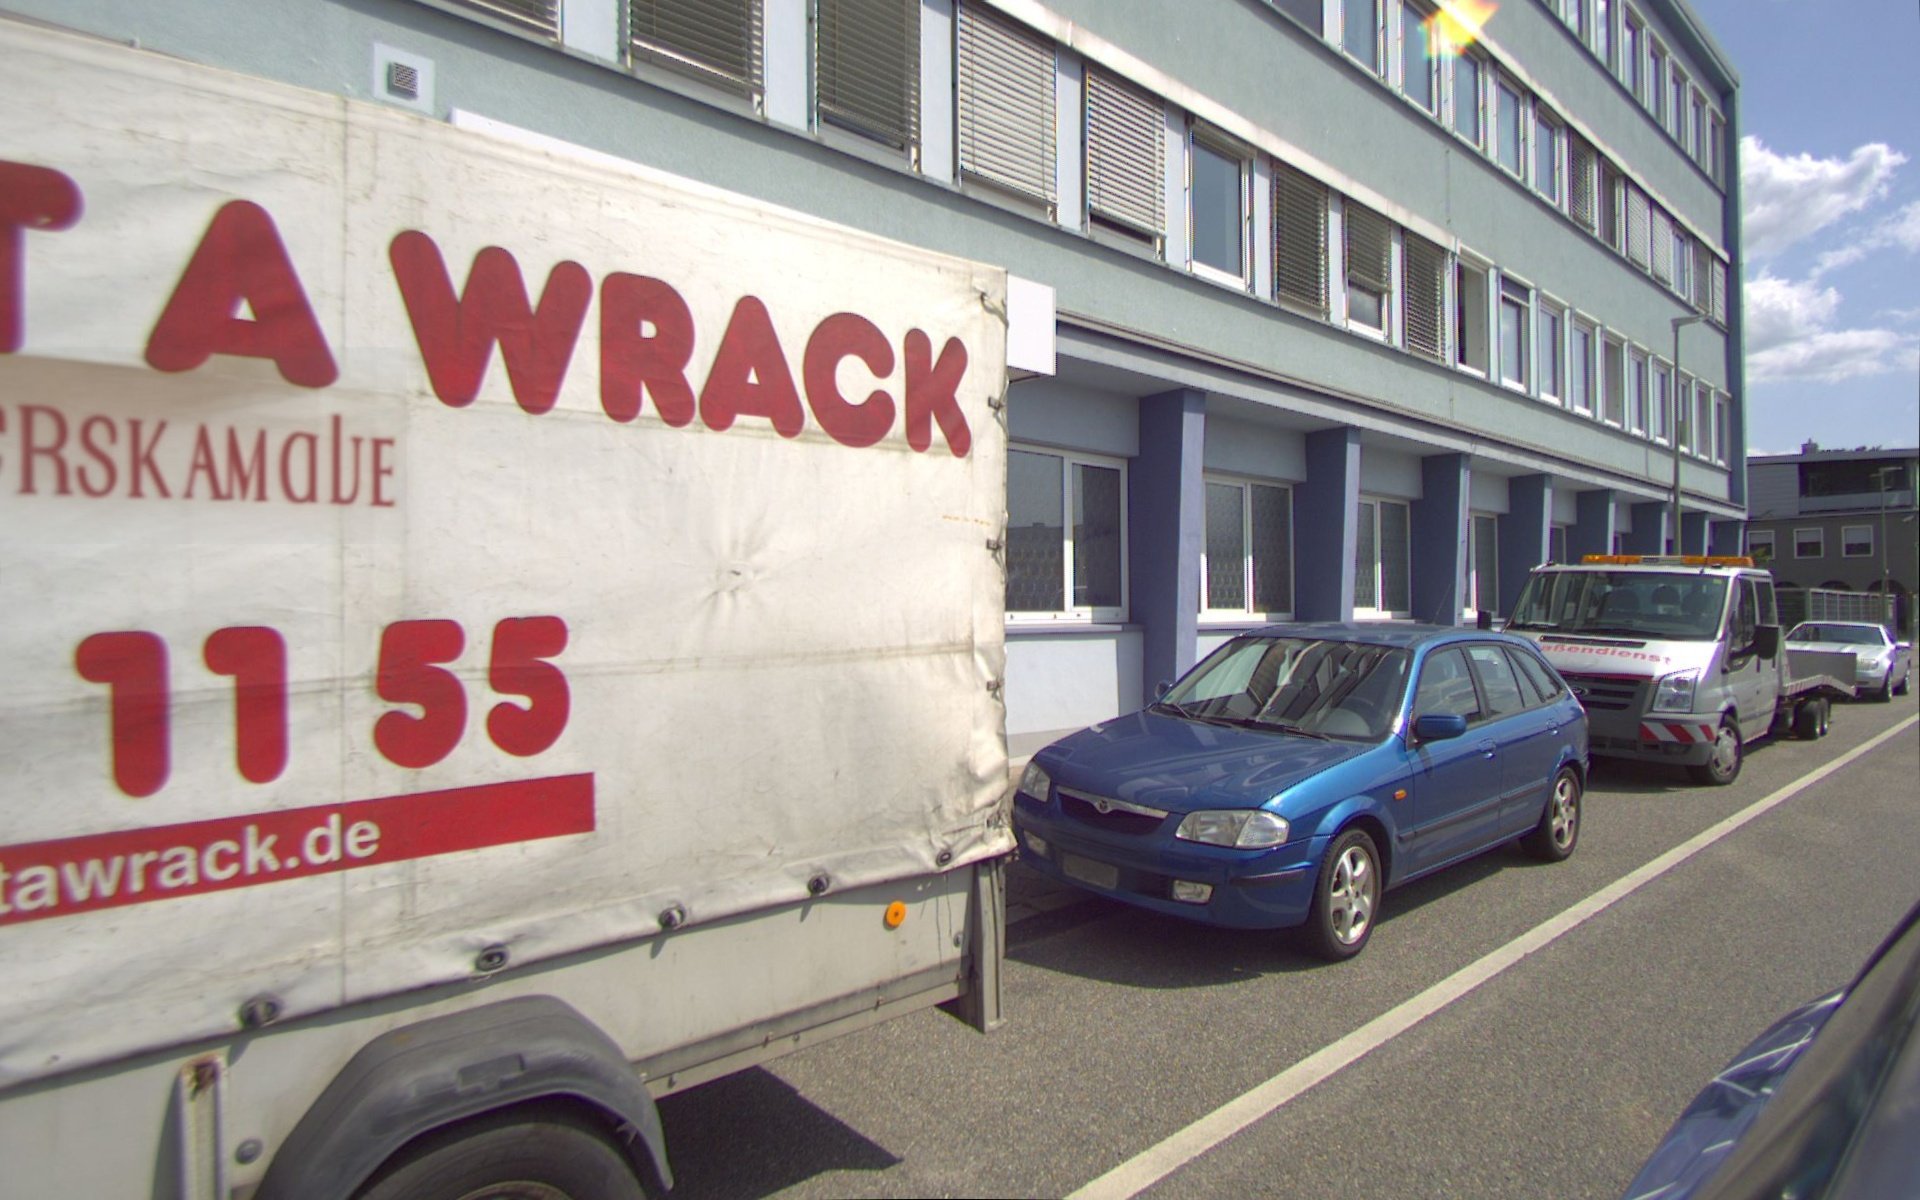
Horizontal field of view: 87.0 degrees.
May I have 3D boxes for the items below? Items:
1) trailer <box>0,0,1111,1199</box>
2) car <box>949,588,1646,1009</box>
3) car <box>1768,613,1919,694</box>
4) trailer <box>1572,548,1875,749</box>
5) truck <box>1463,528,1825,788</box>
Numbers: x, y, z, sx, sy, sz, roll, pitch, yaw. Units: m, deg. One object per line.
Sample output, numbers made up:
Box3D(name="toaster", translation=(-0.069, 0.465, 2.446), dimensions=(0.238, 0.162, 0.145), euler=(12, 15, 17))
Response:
Box3D(name="trailer", translation=(-2.123, 0.244, 1.894), dimensions=(4.980, 2.586, 1.873), euler=(0, -1, -39))
Box3D(name="car", translation=(2.165, 0.788, 5.819), dimensions=(4.323, 1.562, 1.721), euler=(1, -3, -39))
Box3D(name="car", translation=(15.788, 0.877, 17.946), dimensions=(3.931, 1.262, 1.649), euler=(1, -1, -42))
Box3D(name="trailer", translation=(9.744, 0.502, 12.690), dimensions=(5.667, 1.996, 1.975), euler=(0, -1, -42))
Box3D(name="truck", translation=(7.113, 0.473, 10.314), dimensions=(4.653, 2.061, 1.966), euler=(0, -1, -42))
